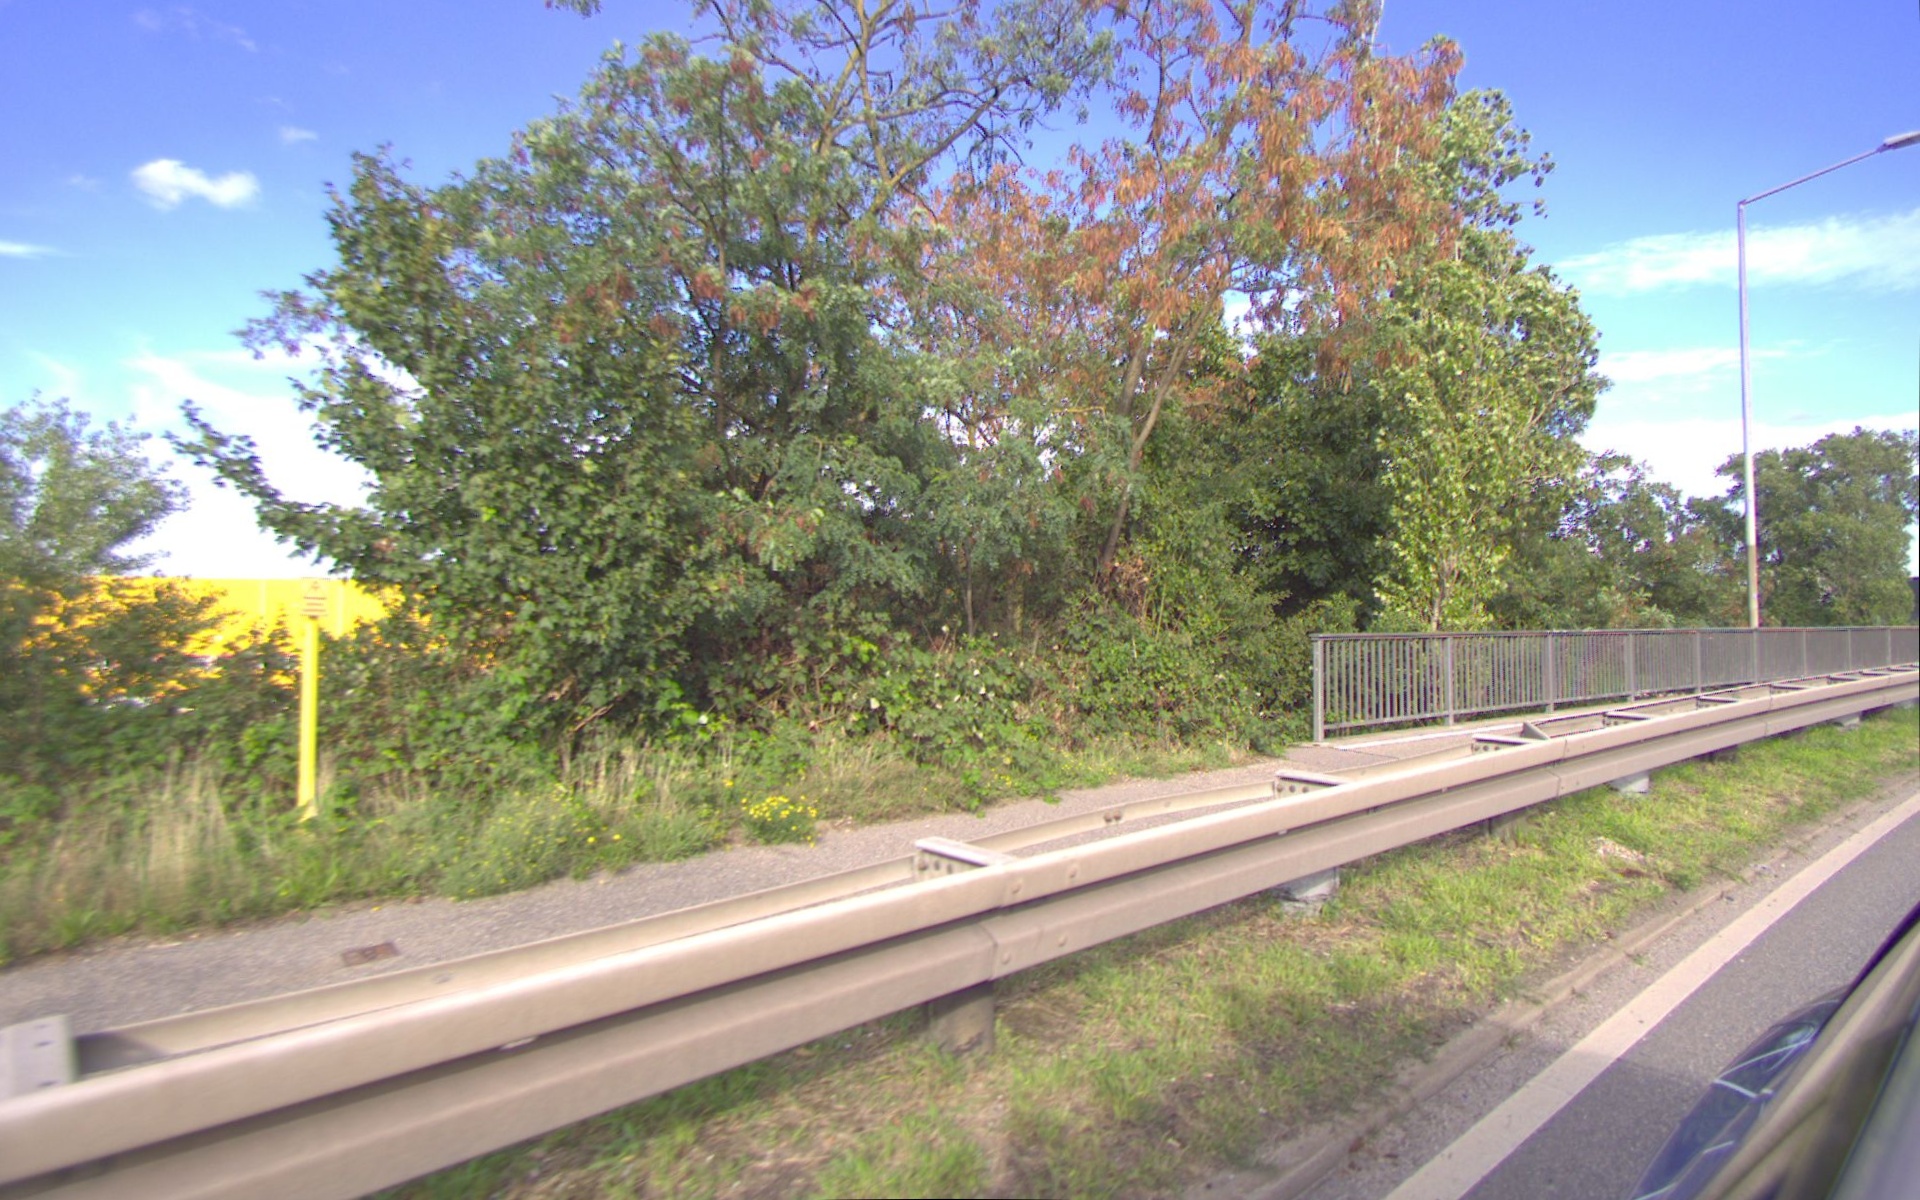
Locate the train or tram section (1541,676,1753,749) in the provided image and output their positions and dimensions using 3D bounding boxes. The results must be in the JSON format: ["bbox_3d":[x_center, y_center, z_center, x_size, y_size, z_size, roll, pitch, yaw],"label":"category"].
[{"bbox_3d":[58.226,9.340,87.016,3.031,4.197,17.339,0,1,-15],"label":"train or tram section"}]
